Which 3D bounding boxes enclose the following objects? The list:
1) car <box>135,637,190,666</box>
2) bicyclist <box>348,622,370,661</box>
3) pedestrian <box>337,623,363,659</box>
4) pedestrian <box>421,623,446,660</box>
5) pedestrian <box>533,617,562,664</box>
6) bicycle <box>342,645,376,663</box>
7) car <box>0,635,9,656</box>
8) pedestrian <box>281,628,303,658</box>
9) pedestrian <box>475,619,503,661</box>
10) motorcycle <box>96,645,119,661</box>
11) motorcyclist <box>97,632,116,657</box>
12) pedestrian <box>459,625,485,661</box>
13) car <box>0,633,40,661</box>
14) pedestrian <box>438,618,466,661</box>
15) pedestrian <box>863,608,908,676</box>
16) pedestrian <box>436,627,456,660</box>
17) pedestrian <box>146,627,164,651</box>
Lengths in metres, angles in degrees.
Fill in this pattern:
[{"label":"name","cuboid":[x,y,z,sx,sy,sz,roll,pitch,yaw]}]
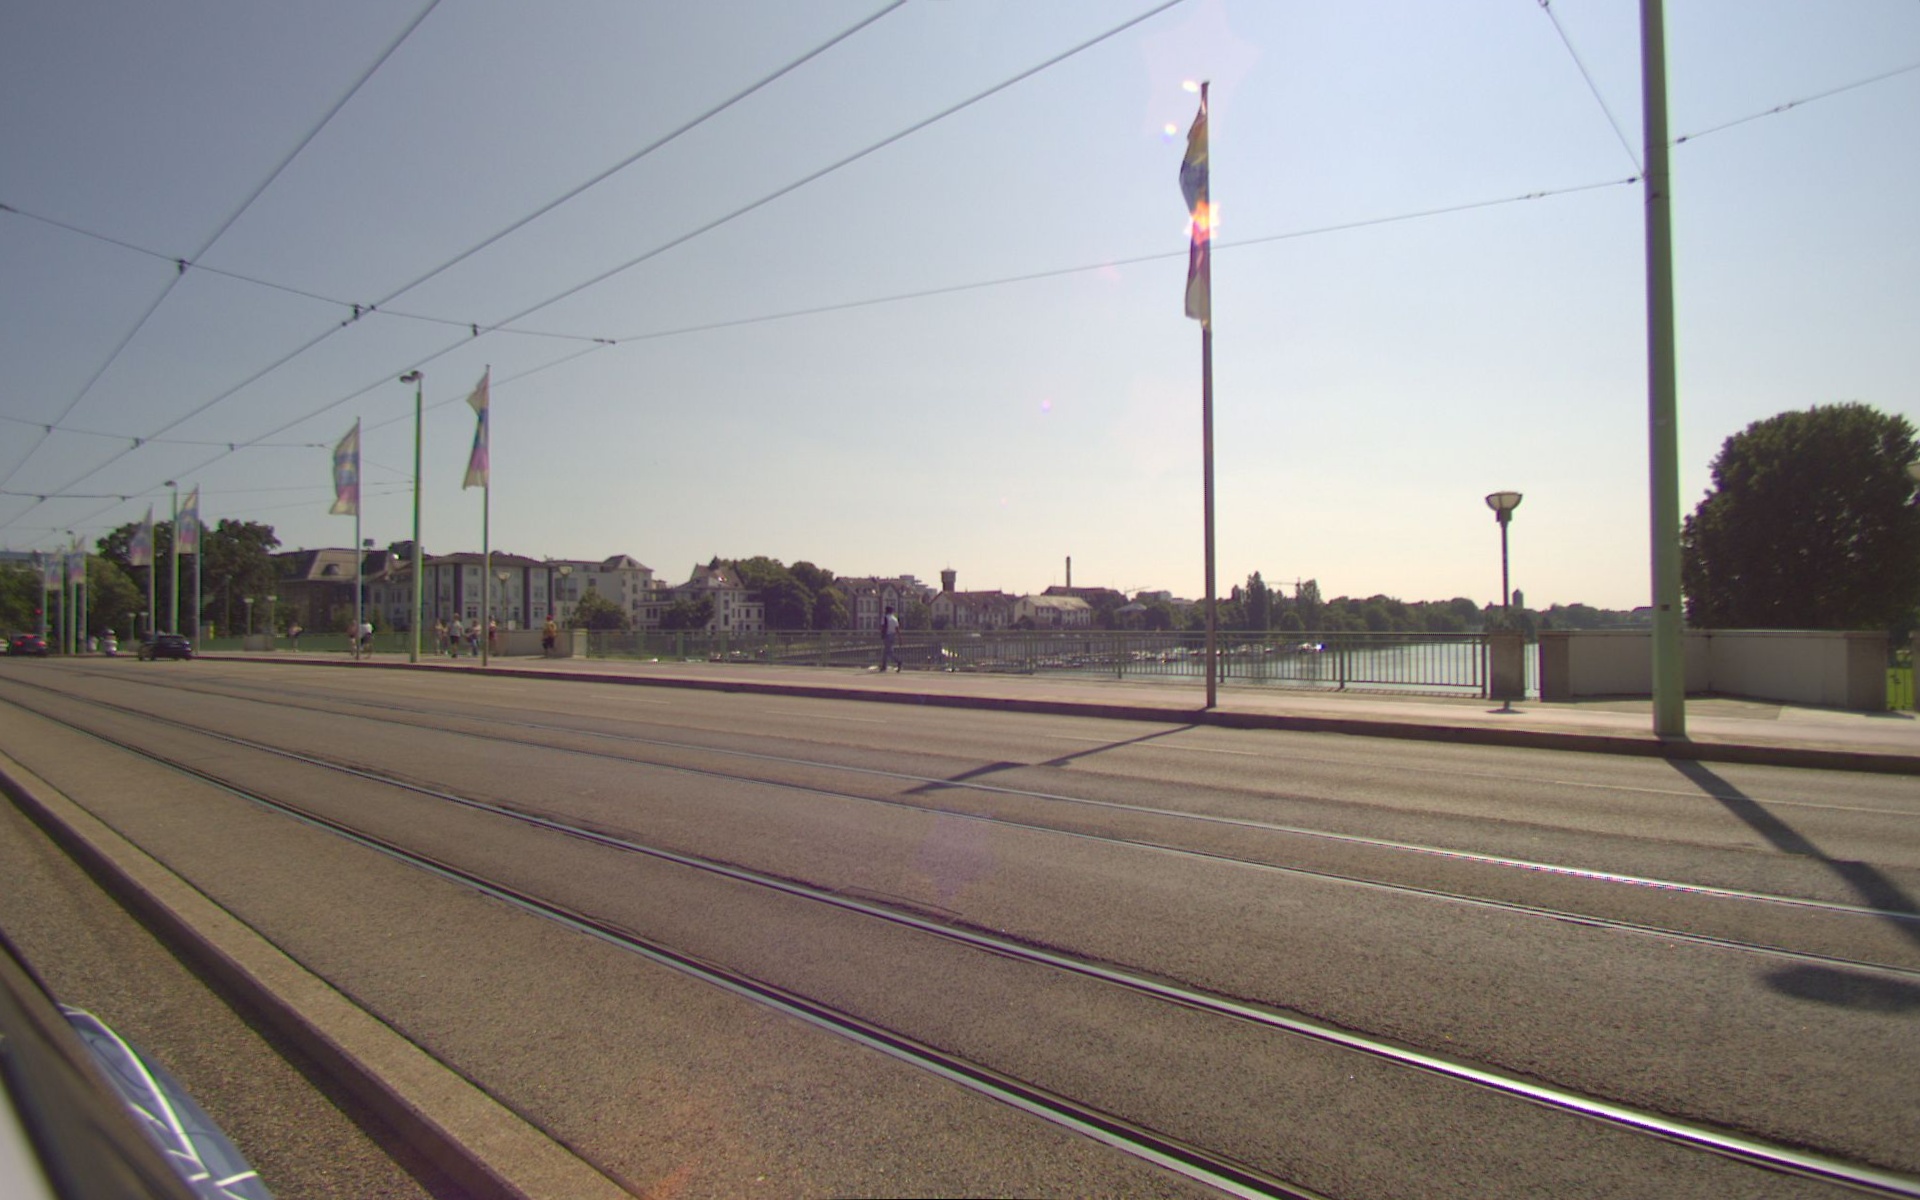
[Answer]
[{"label":"car","cuboid":[-42.387,2.695,53.777,3.999,1.447,1.650,-1,-2,42]},{"label":"bicyclist","cuboid":[-25.933,1.786,43.666,0.621,1.663,0.657,-2,-2,42]},{"label":"pedestrian","cuboid":[-29.832,1.985,49.526,1.022,1.712,0.777,-2,0,41]},{"label":"pedestrian","cuboid":[-23.456,1.849,45.053,1.022,1.611,0.619,-2,0,41]},{"label":"pedestrian","cuboid":[-15.717,1.535,38.570,1.022,1.712,0.584,-2,0,41]},{"label":"bicycle","cuboid":[-25.939,2.309,43.661,2.172,0.721,0.658,-2,-2,42]},{"label":"car","cuboid":[-77.505,3.666,80.882,3.999,1.632,1.790,-1,2,42]},{"label":"pedestrian","cuboid":[-39.173,2.489,59.368,1.022,1.712,0.777,-2,0,41]},{"label":"pedestrian","cuboid":[-19.483,1.652,41.885,1.022,1.703,0.677,-2,0,41]},{"label":"motorcycle","cuboid":[-53.974,3.340,64.080,2.144,0.895,0.725,-1,2,41]},{"label":"motorcyclist","cuboid":[-54.032,2.791,64.092,0.728,1.524,0.730,-2,2,41]},{"label":"pedestrian","cuboid":[-20.147,1.775,41.740,1.022,1.425,0.584,-2,0,41]},{"label":"car","cuboid":[-63.931,3.168,68.731,3.999,1.709,1.692,-1,2,42]},{"label":"pedestrian","cuboid":[-20.828,1.624,41.500,1.022,1.712,0.663,-2,0,41]},{"label":"pedestrian","cuboid":[-1.949,1.085,26.441,1.022,1.712,0.584,-2,0,41]},{"label":"pedestrian","cuboid":[-23.219,1.955,45.710,0.788,1.448,0.540,-2,0,41]},{"label":"pedestrian","cuboid":[-58.042,2.809,72.973,1.022,1.712,0.777,-2,0,41]}]
